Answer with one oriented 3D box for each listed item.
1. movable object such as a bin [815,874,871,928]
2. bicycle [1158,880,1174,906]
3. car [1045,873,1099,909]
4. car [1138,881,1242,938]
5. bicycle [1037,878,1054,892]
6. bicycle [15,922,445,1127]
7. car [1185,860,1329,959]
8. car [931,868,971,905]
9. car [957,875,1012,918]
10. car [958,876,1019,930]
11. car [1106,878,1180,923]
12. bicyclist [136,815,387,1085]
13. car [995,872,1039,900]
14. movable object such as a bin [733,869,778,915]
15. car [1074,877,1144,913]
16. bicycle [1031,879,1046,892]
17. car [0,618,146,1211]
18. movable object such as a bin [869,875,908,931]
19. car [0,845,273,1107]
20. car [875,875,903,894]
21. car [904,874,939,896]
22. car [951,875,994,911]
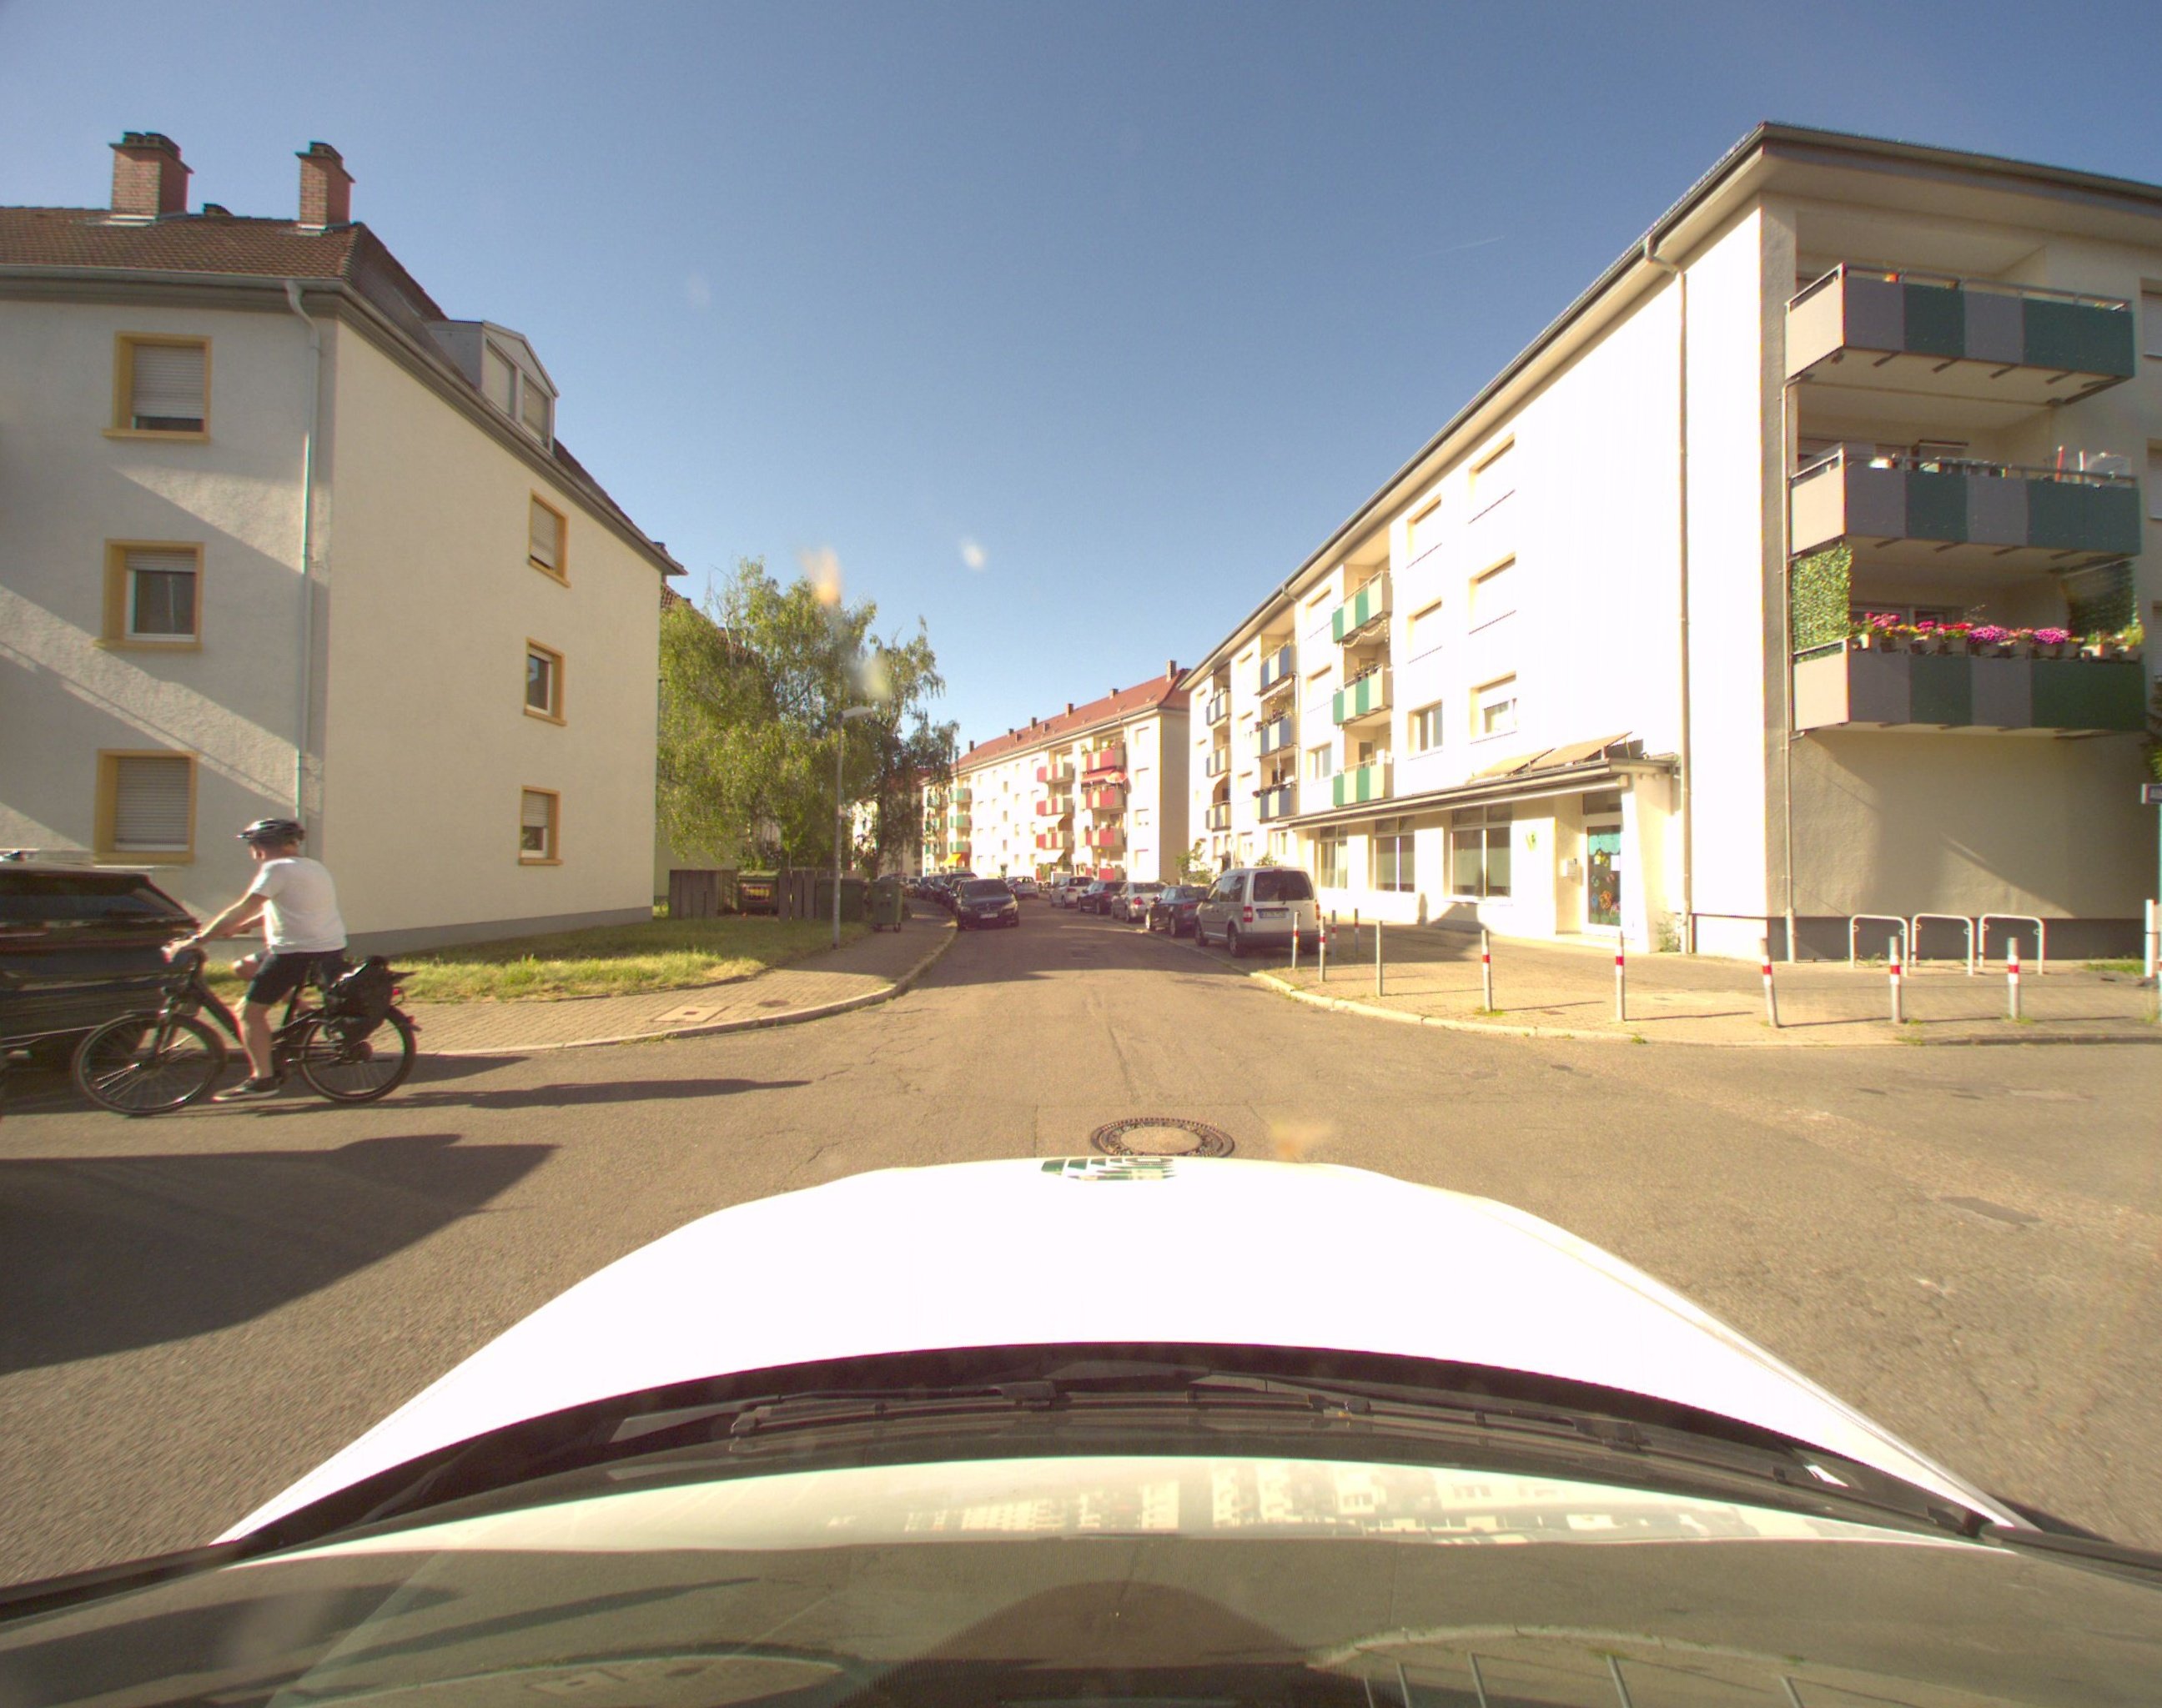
[{"bbox_3d":[-6.266,1.235,21.523,1.216,1.380,0.767,1,-2,-1],"label":"movable object such as a bin"},{"bbox_3d":[4.249,1.930,40.781,0.513,1.203,1.760,-1,-1,-1],"label":"bicycle"},{"bbox_3d":[-0.519,1.858,41.921,1.697,1.655,4.367,-1,0,-16],"label":"car"},{"bbox_3d":[2.997,1.517,23.450,1.678,1.407,4.529,0,-1,-10],"label":"car"},{"bbox_3d":[-2.778,2.404,63.297,0.620,0.978,1.880,-3,1,-24],"label":"bicycle"},{"bbox_3d":[-5.217,1.012,5.113,1.809,1.115,0.627,0,-3,-9],"label":"bicycle"},{"bbox_3d":[3.686,1.110,17.831,1.745,1.824,4.120,-2,-1,-7],"label":"car"},{"bbox_3d":[-6.765,1.661,42.021,1.558,1.714,4.315,-2,-1,-15],"label":"car"},{"bbox_3d":[-3.730,1.555,30.899,1.679,1.442,4.262,-2,-1,-11],"label":"car"},{"bbox_3d":[-2.962,1.472,25.742,1.677,1.453,4.607,-3,-1,-8],"label":"car"},{"bbox_3d":[2.154,1.612,29.657,1.677,1.447,4.709,0,-1,-9],"label":"car"},{"bbox_3d":[-5.115,0.567,5.142,0.904,1.579,0.596,0,-2,-9],"label":"bicyclist"},{"bbox_3d":[-4.295,2.086,54.060,1.773,1.635,4.011,-1,0,-22],"label":"car"},{"bbox_3d":[-10.504,1.214,26.308,1.059,1.435,1.001,-1,-1,-6],"label":"movable object such as a bin"},{"bbox_3d":[1.125,1.733,35.410,1.697,1.432,4.661,-1,-2,-16],"label":"car"},{"bbox_3d":[-3.290,2.426,62.669,0.500,1.020,1.826,-1,-1,-25],"label":"bicycle"},{"bbox_3d":[-7.574,0.310,2.853,5.929,2.545,1.997,-1,-1,-4],"label":"car"},{"bbox_3d":[-4.979,1.246,21.174,0.774,1.393,1.414,0,-1,-5],"label":"movable object such as a bin"},{"bbox_3d":[-9.088,0.831,5.908,4.478,1.664,1.717,-1,-3,-4],"label":"car"},{"bbox_3d":[-16.031,2.514,67.846,1.486,1.477,3.601,-3,0,-25],"label":"car"},{"bbox_3d":[-11.032,2.124,56.178,1.700,1.389,4.126,0,-1,-22],"label":"car"},{"bbox_3d":[-4.857,1.679,36.149,1.556,1.442,3.951,-2,-1,-11],"label":"car"}]
